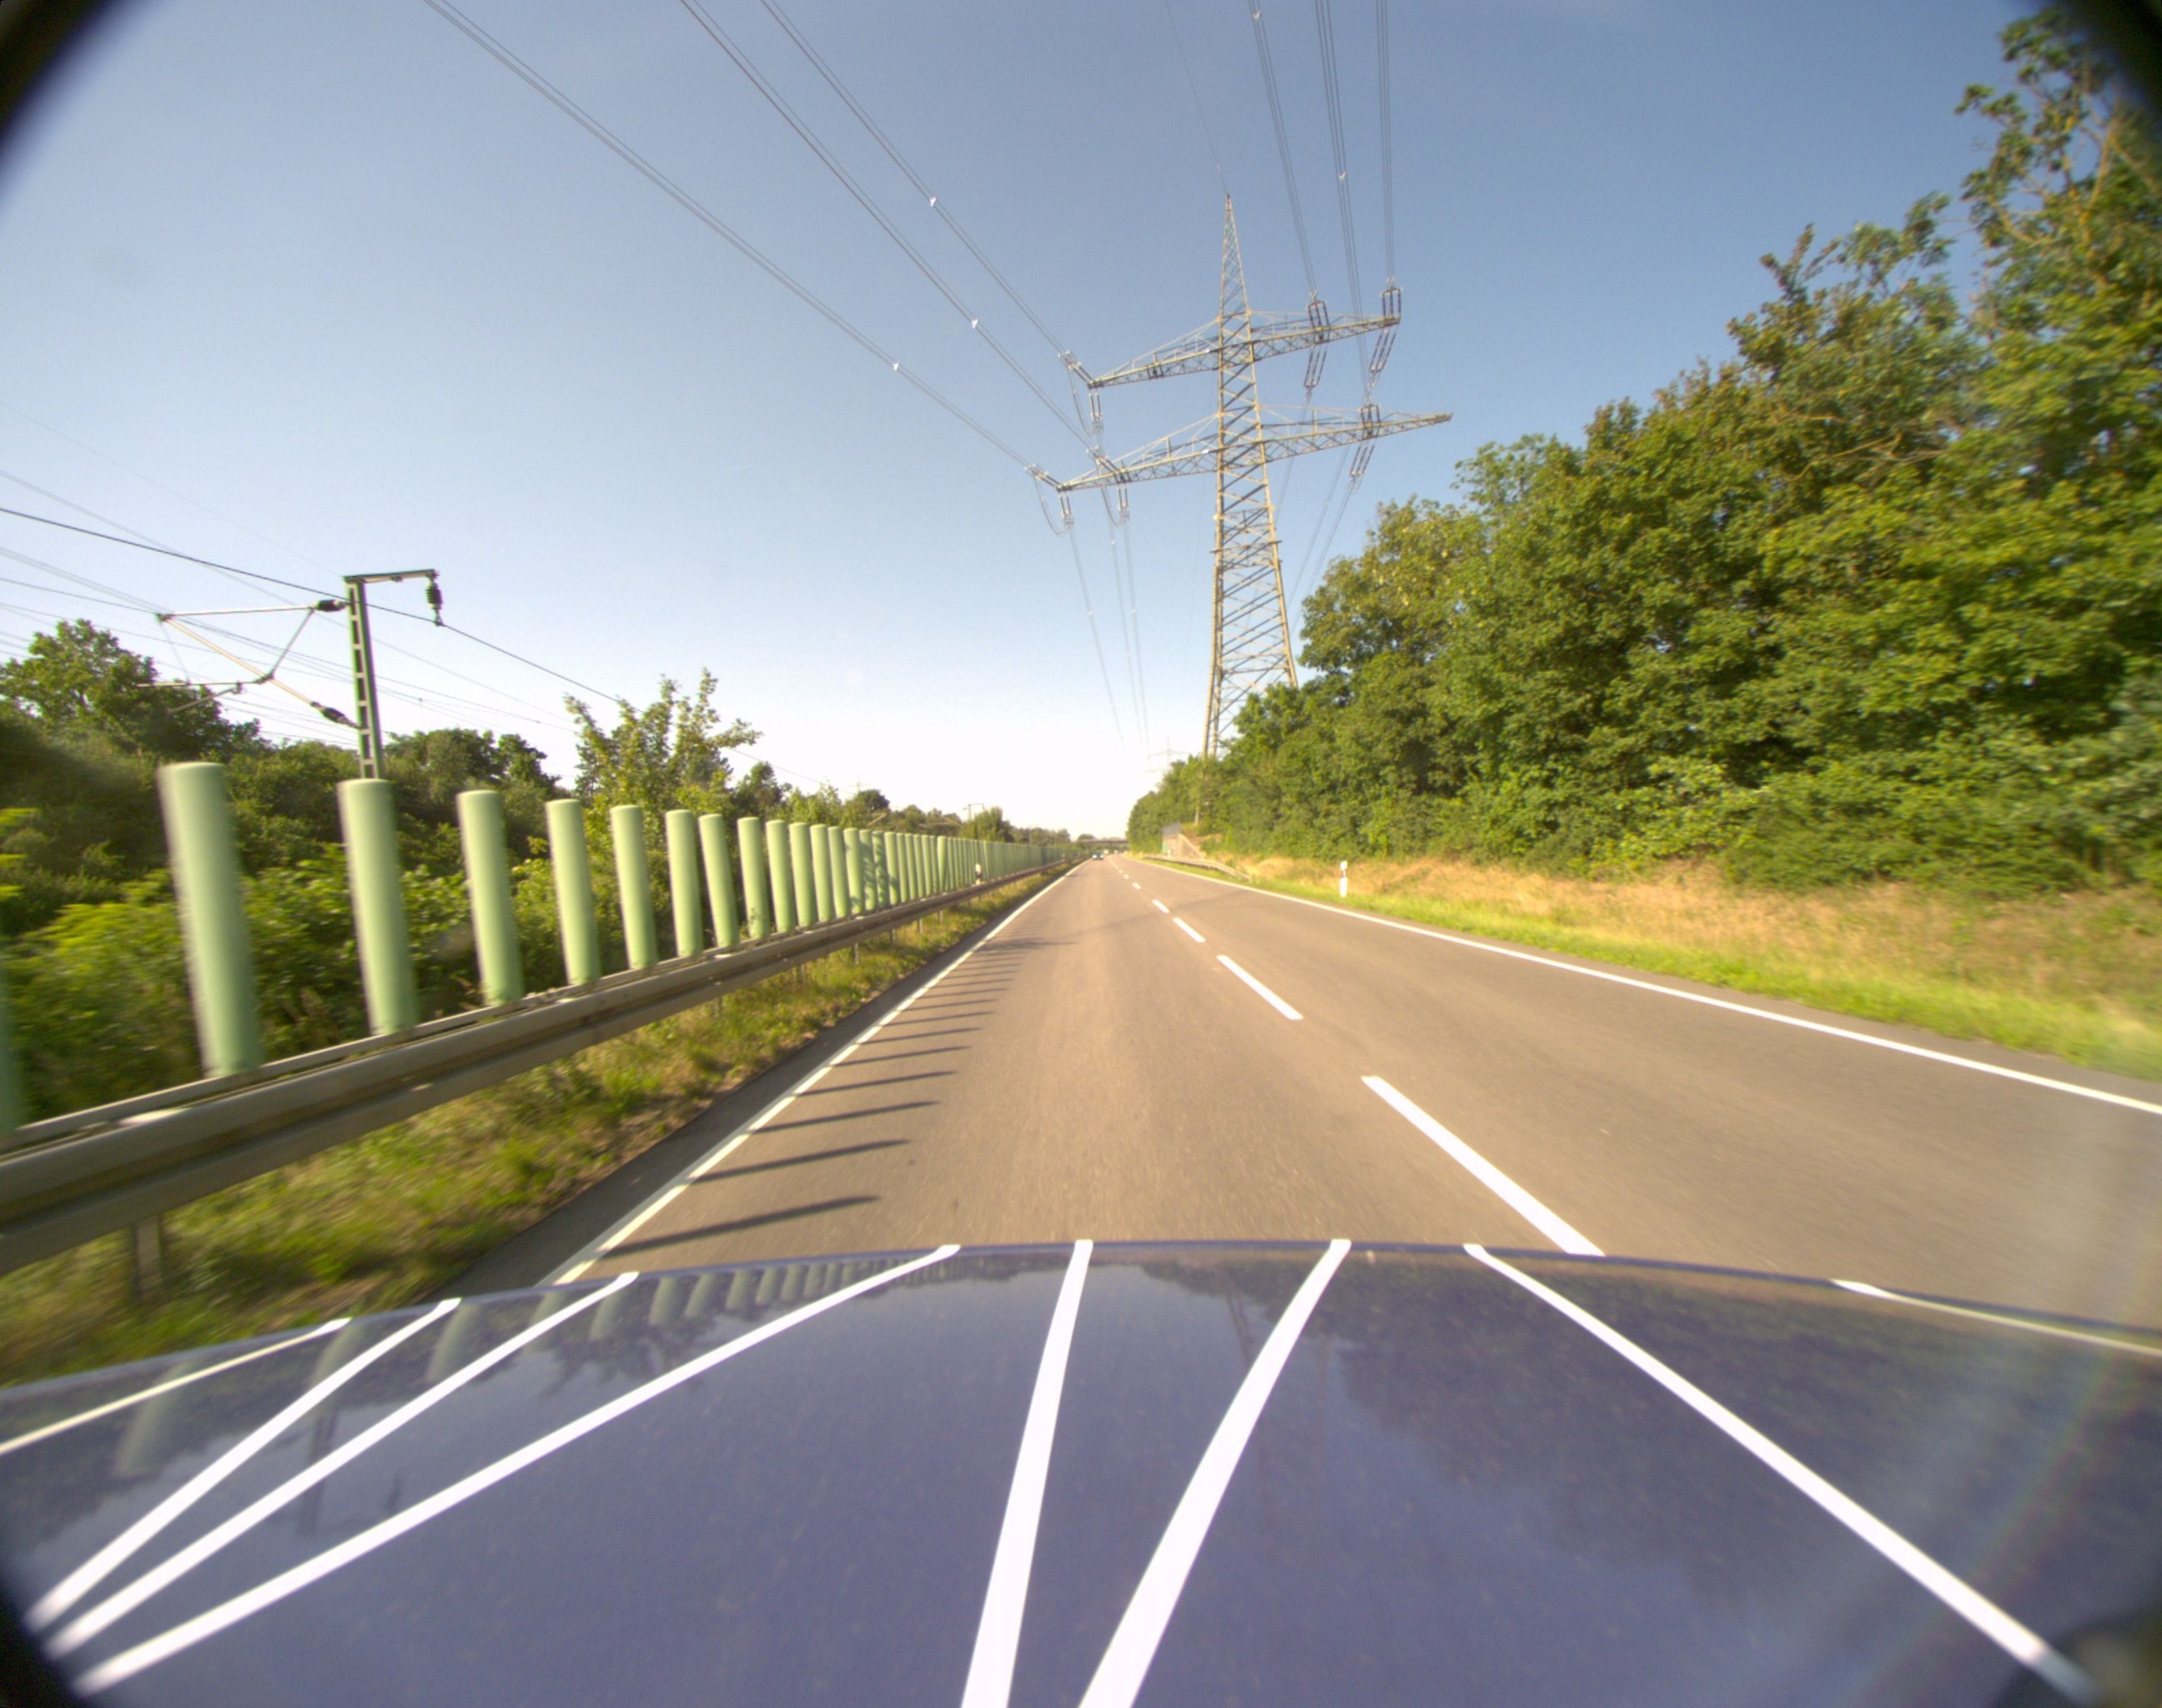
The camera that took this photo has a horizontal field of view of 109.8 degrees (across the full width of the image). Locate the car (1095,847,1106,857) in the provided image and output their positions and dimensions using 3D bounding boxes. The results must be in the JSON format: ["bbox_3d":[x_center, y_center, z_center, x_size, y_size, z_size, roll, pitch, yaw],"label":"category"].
[{"bbox_3d":[3.306,-0.345,129.952,1.786,1.550,4.001,-1,0,3],"label":"car"}]
